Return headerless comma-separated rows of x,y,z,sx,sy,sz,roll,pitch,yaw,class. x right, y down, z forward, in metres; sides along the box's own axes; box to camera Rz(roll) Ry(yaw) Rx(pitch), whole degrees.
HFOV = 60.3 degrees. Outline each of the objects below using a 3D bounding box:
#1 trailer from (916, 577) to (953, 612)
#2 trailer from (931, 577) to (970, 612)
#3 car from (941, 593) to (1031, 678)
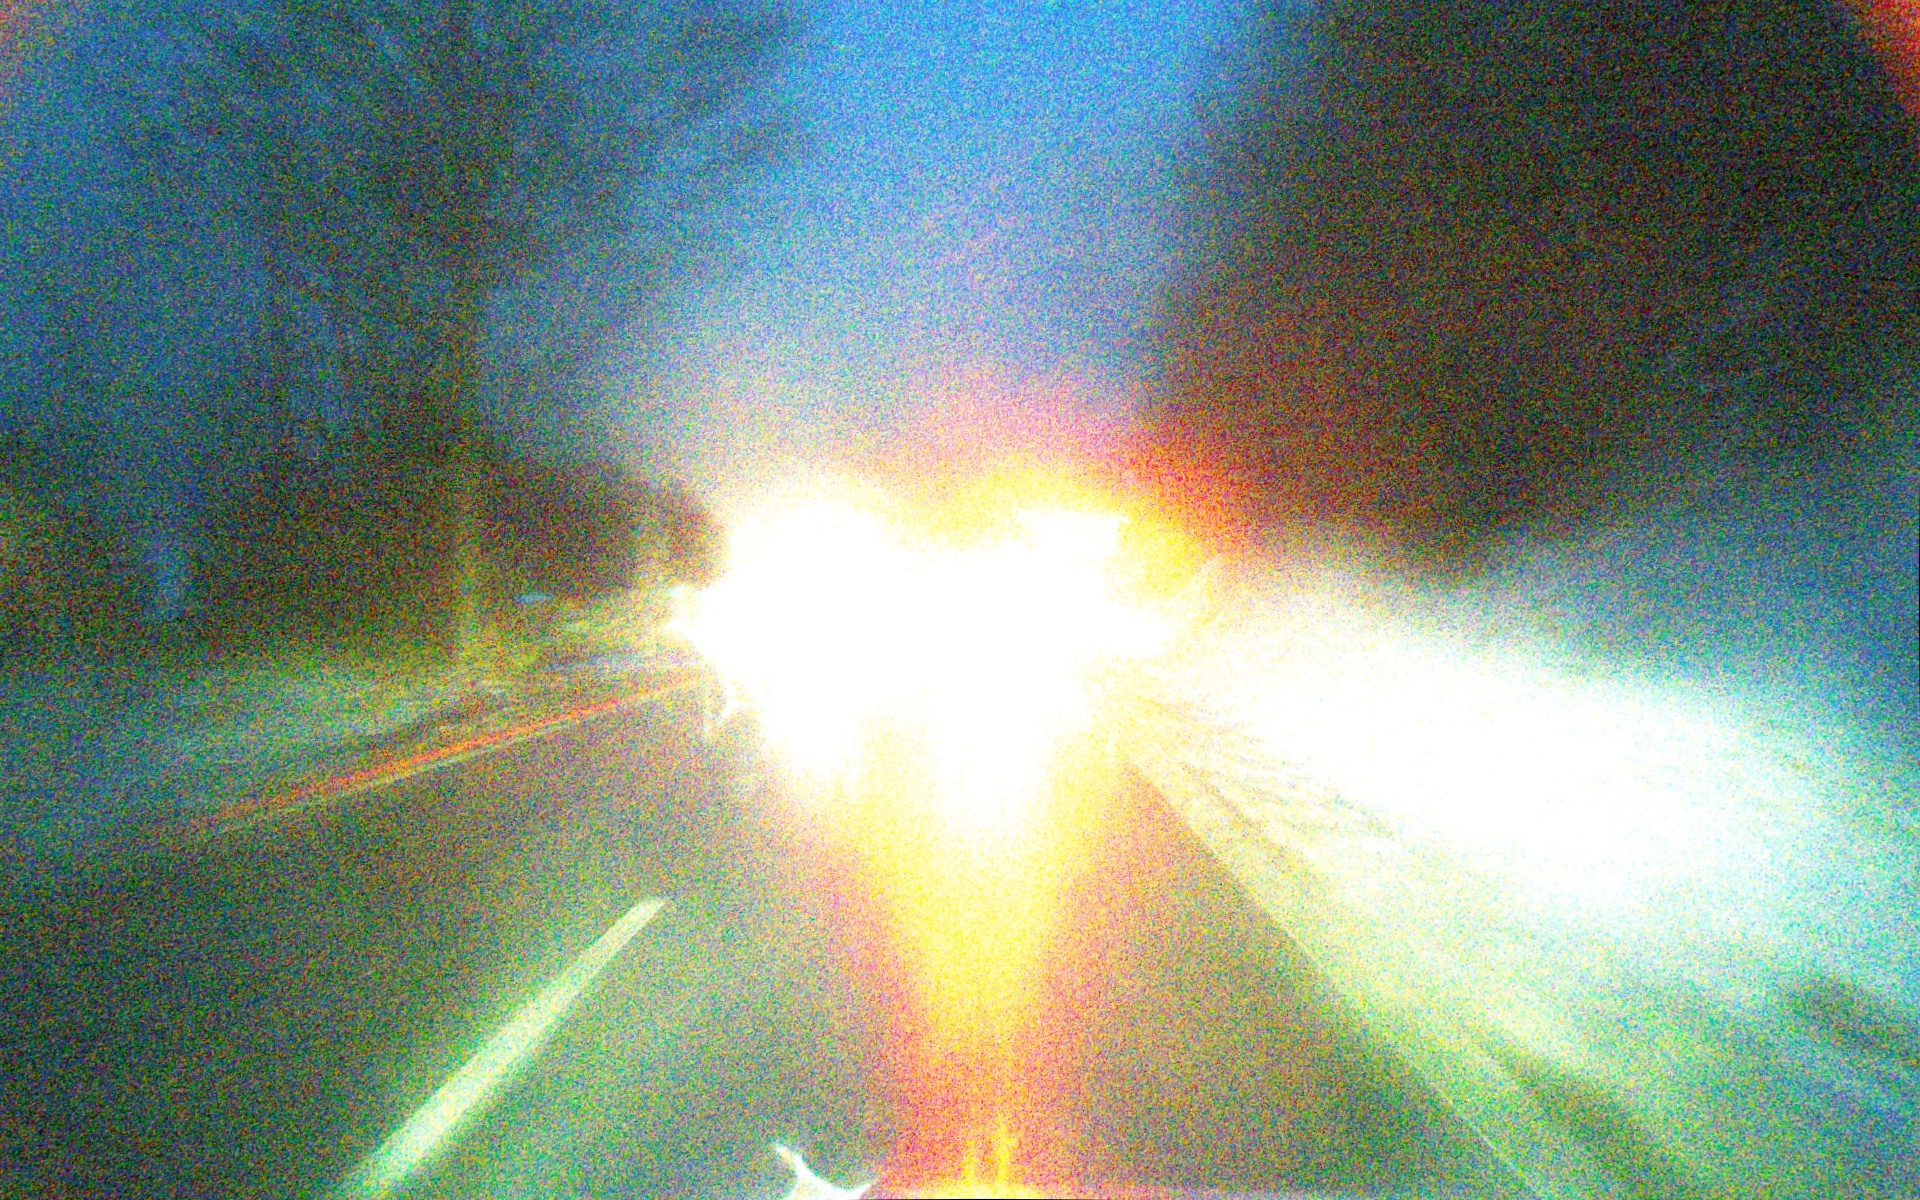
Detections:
-1.860,-0.399,119.408,1.603,2.406,4.634,1,0,-15,trailer
-0.685,-0.380,114.635,1.579,2.393,4.413,2,0,-15,trailer
0.562,0.694,34.326,1.764,1.657,3.616,0,0,2,car
